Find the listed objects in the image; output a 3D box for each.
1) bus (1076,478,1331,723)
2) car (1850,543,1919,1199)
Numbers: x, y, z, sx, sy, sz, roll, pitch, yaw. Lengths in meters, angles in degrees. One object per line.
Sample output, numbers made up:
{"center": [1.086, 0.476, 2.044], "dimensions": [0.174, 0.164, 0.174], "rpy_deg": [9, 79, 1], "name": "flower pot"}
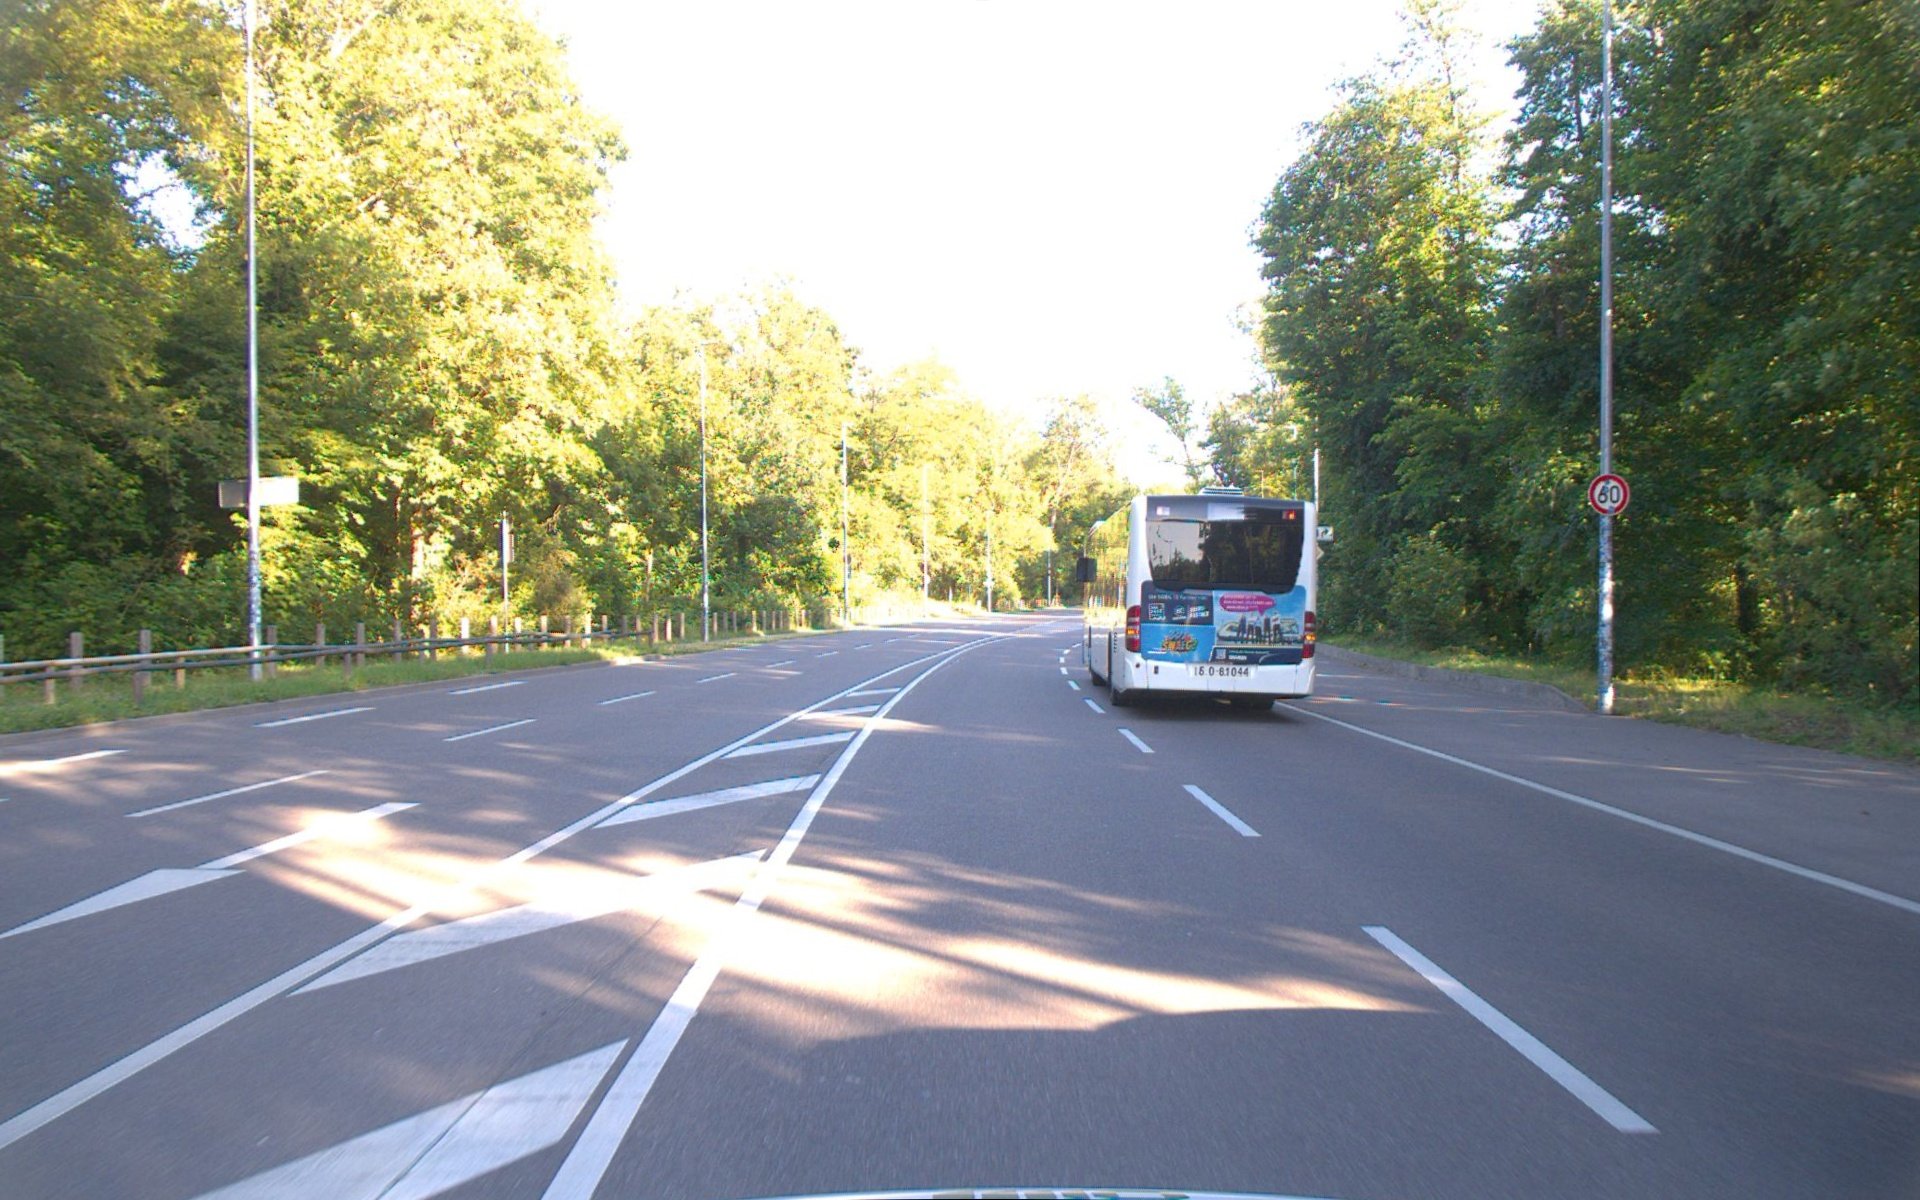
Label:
{"center": [3.533, 0.008, 27.143], "dimensions": [2.634, 3.096, 12.042], "rpy_deg": [1, 0, 1], "name": "bus"}
{"center": [3.279, 0.704, 2.041], "dimensions": [1.854, 1.633, 4.543], "rpy_deg": [1, 0, -1], "name": "car"}
